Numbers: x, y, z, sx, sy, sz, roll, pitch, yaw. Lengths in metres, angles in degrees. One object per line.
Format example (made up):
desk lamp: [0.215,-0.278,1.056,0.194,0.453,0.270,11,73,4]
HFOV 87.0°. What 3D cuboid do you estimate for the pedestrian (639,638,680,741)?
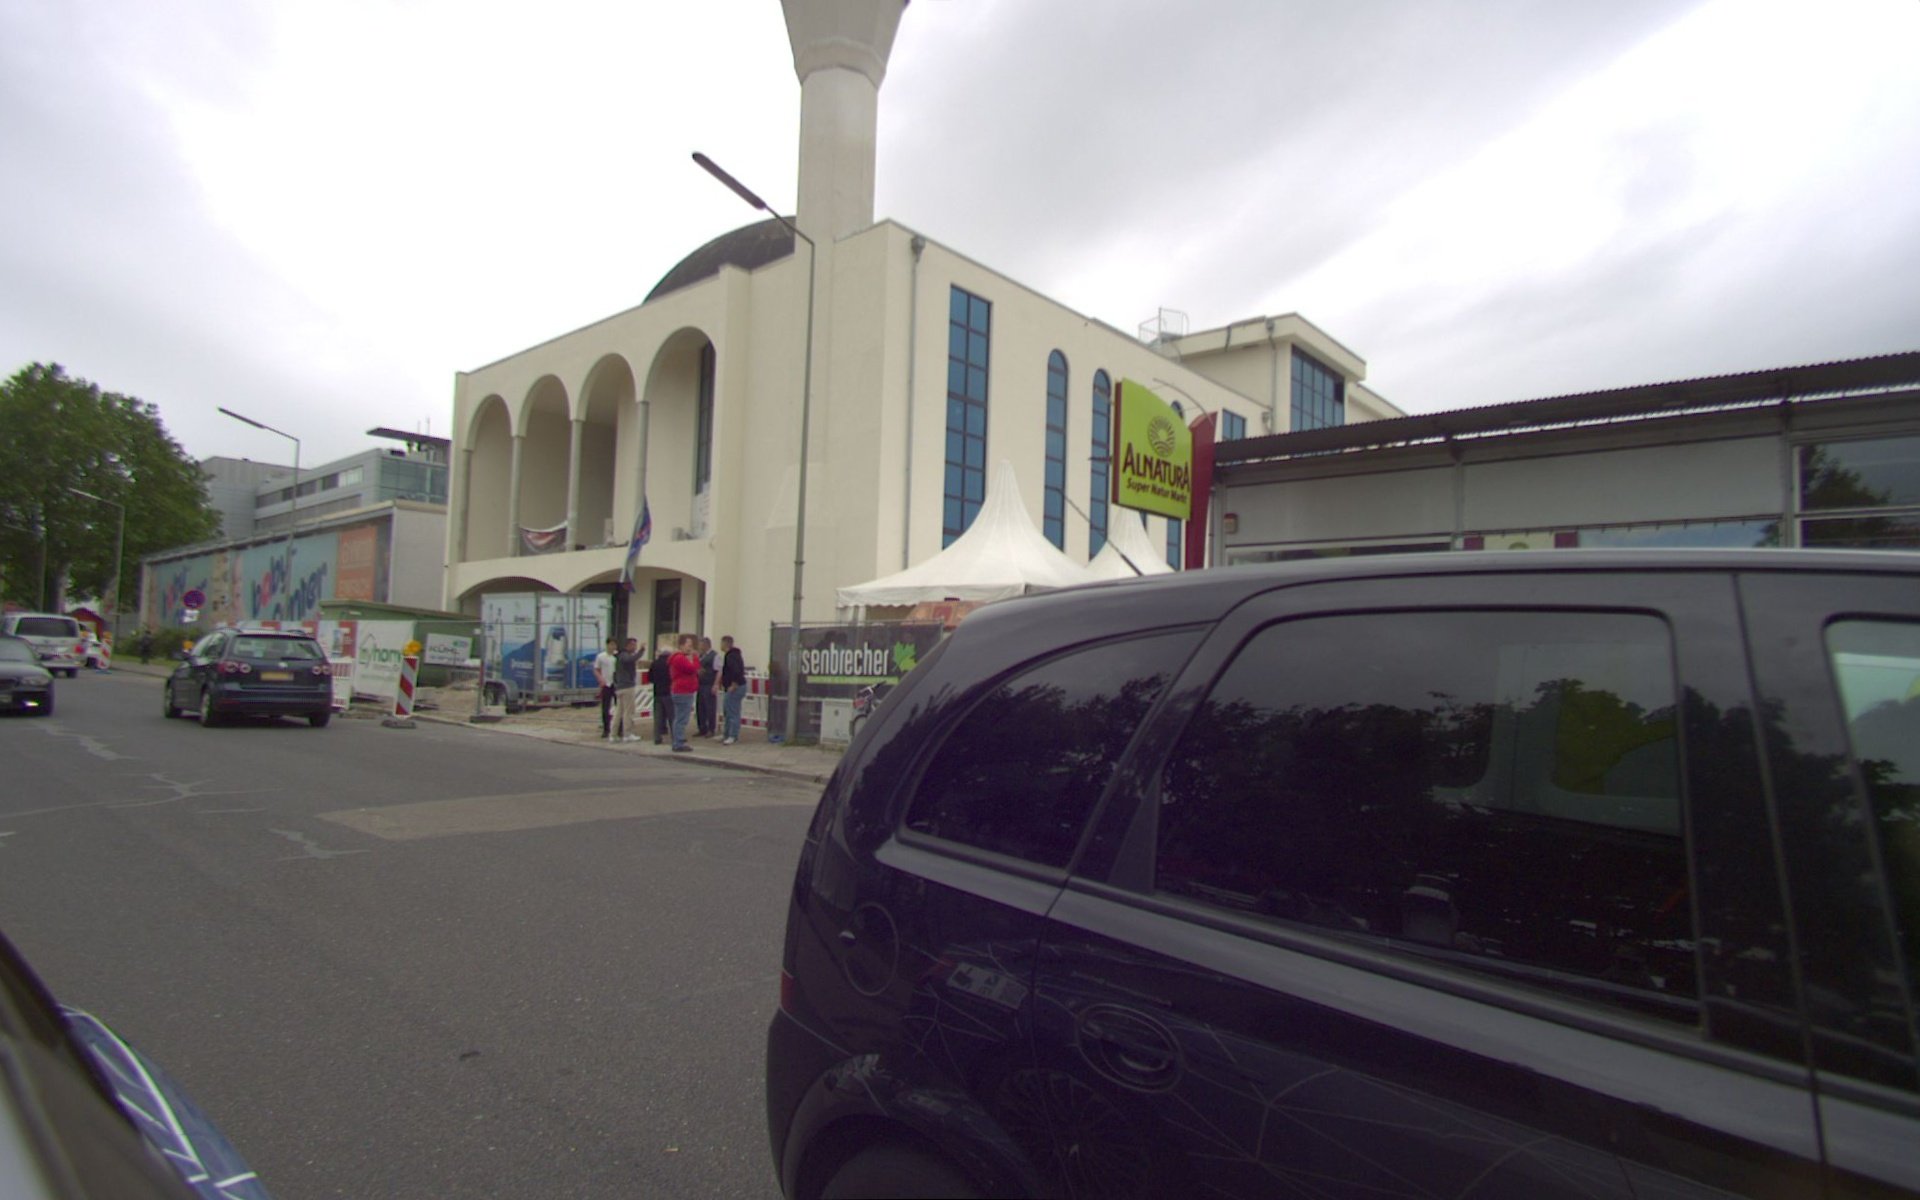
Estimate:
pedestrian: [-5.275,1.568,17.776,0.520,1.763,0.491,2,-4,-3]

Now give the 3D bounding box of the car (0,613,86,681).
car: [-29.889,1.483,32.607,4.954,2.029,1.906,-1,-4,42]

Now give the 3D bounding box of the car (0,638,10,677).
car: [-44.154,2.458,45.185,4.652,1.674,1.939,-1,-7,42]

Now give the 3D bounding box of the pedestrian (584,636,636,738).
pedestrian: [-6.184,1.532,17.888,0.681,1.763,0.491,2,-4,-3]

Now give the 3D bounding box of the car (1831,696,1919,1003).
car: [6.441,1.237,3.993,4.515,1.378,1.681,-1,-9,41]

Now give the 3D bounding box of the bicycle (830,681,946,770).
bicycle: [-1.049,1.736,14.336,0.537,1.086,1.903,4,-3,-42]

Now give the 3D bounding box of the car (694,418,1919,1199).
car: [1.480,0.716,1.324,3.756,1.644,1.664,-1,-5,40]

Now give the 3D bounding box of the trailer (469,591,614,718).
trailer: [-9.421,1.221,22.716,3.192,2.627,1.778,-2,-5,44]

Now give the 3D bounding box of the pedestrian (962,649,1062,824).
pedestrian: [0.513,1.345,10.064,0.664,1.634,0.655,7,-7,-23]

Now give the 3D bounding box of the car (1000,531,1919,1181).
car: [2.284,0.750,4.236,4.134,1.774,1.671,-2,-3,42]

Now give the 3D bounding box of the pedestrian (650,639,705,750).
pedestrian: [-4.305,1.434,15.438,0.535,1.624,0.489,2,-5,13]

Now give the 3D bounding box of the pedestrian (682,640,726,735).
pedestrian: [-4.475,1.517,17.695,0.532,1.624,0.491,3,-3,-43]

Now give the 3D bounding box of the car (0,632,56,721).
car: [-17.001,1.257,17.383,4.137,1.369,1.727,-1,-3,42]

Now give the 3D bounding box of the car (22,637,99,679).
car: [-38.840,2.484,43.654,4.148,1.586,1.903,-2,-8,42]

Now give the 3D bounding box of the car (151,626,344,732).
car: [-12.112,1.298,17.128,3.945,1.584,1.711,-1,-6,42]

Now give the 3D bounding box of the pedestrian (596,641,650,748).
pedestrian: [-5.689,1.587,17.124,0.681,1.763,0.491,2,-4,-3]

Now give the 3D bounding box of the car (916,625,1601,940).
car: [2.028,1.150,7.828,4.728,1.704,1.845,-2,-8,42]

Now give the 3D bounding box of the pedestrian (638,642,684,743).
pedestrian: [-4.942,1.520,16.761,0.563,1.624,0.491,2,-4,-3]

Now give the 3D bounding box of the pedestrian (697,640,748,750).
pedestrian: [-3.867,1.536,16.522,0.685,1.731,0.688,-2,-3,-5]
